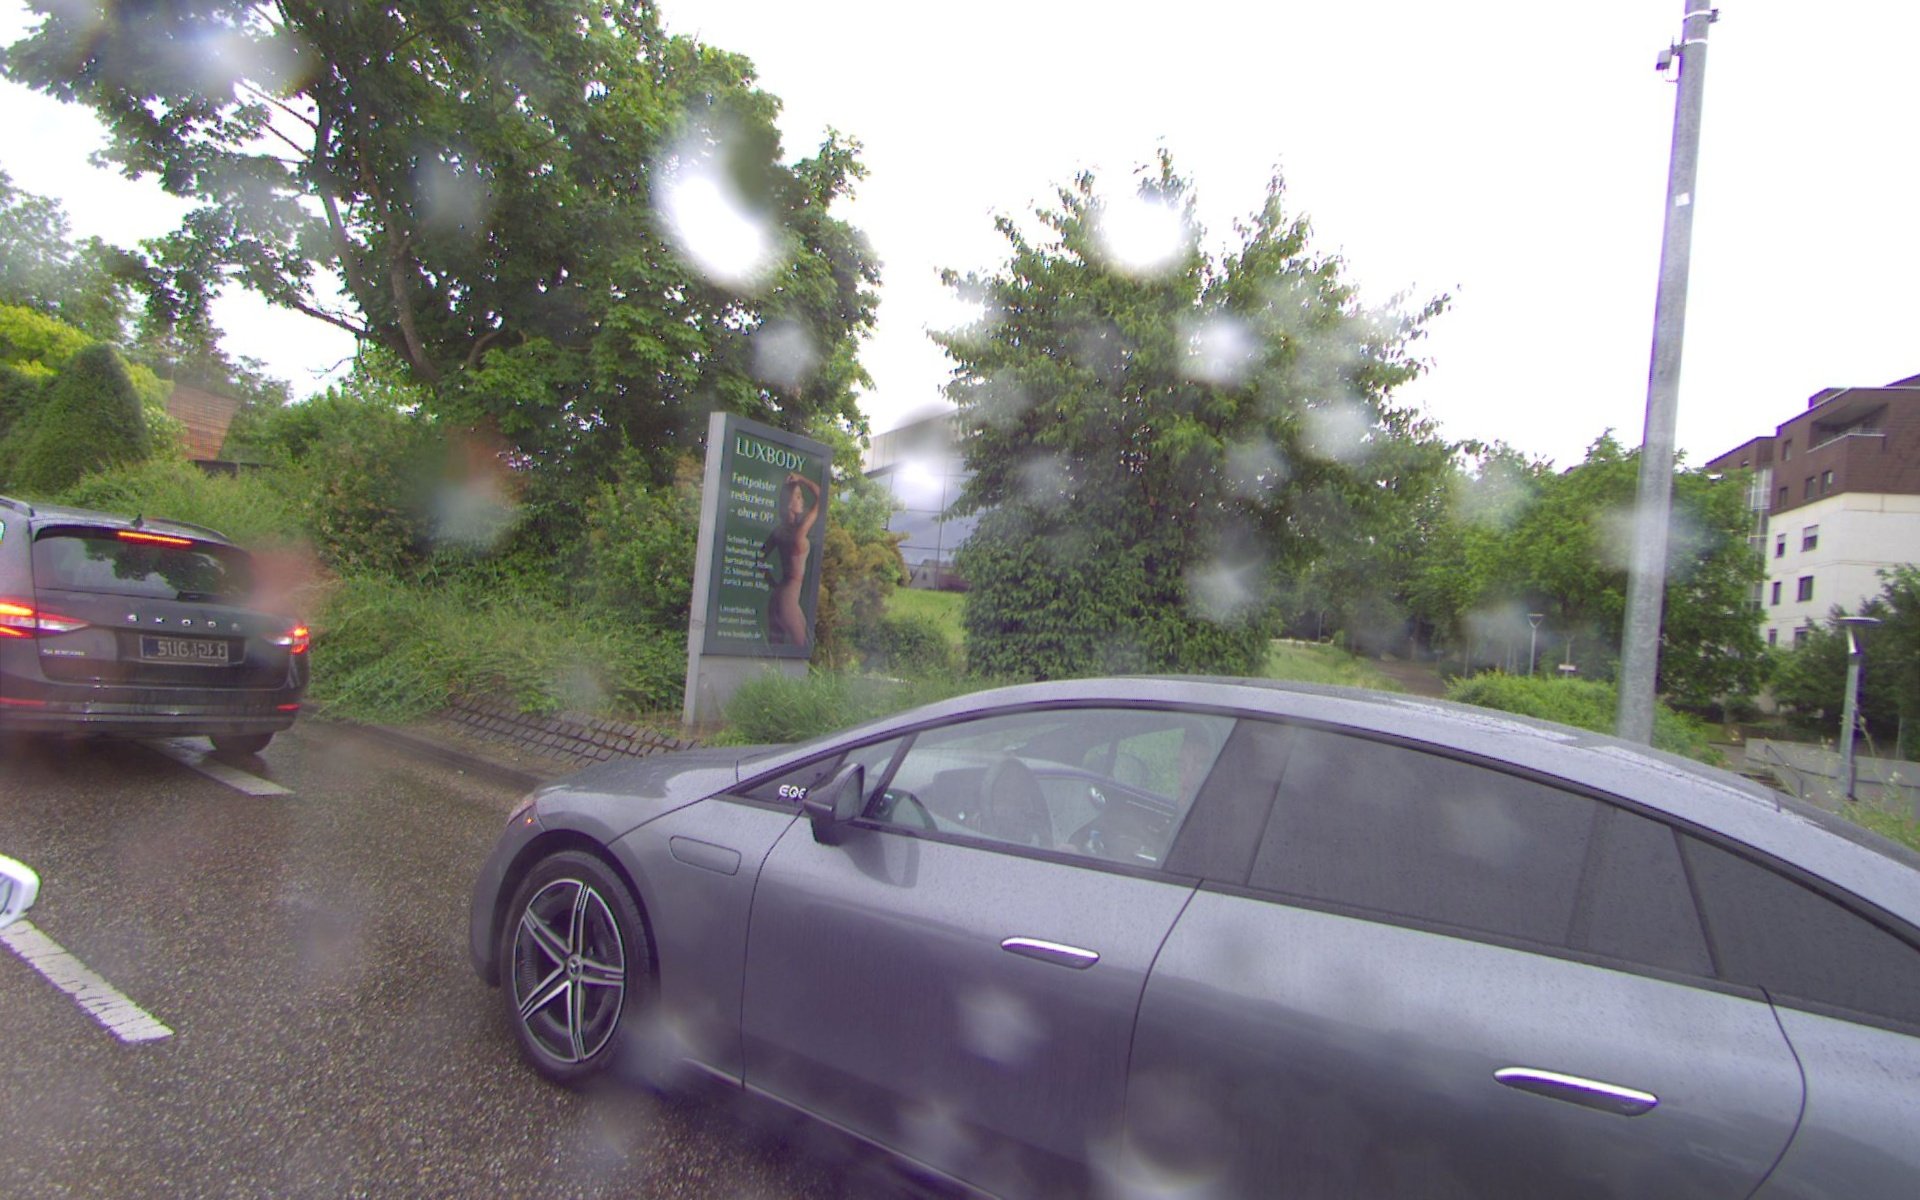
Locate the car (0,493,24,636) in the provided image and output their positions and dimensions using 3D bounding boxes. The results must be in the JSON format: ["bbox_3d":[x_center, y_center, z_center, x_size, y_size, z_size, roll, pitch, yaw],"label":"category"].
[{"bbox_3d":[-12.150,-0.667,10.865,4.048,1.483,1.842,7,-2,31],"label":"car"}]

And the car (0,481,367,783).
[{"bbox_3d":[-6.100,0.031,6.736,4.279,1.483,1.841,7,-2,33],"label":"car"}]

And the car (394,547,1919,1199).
[{"bbox_3d":[0.686,0.911,2.914,4.727,1.483,1.842,7,-2,31],"label":"car"}]
